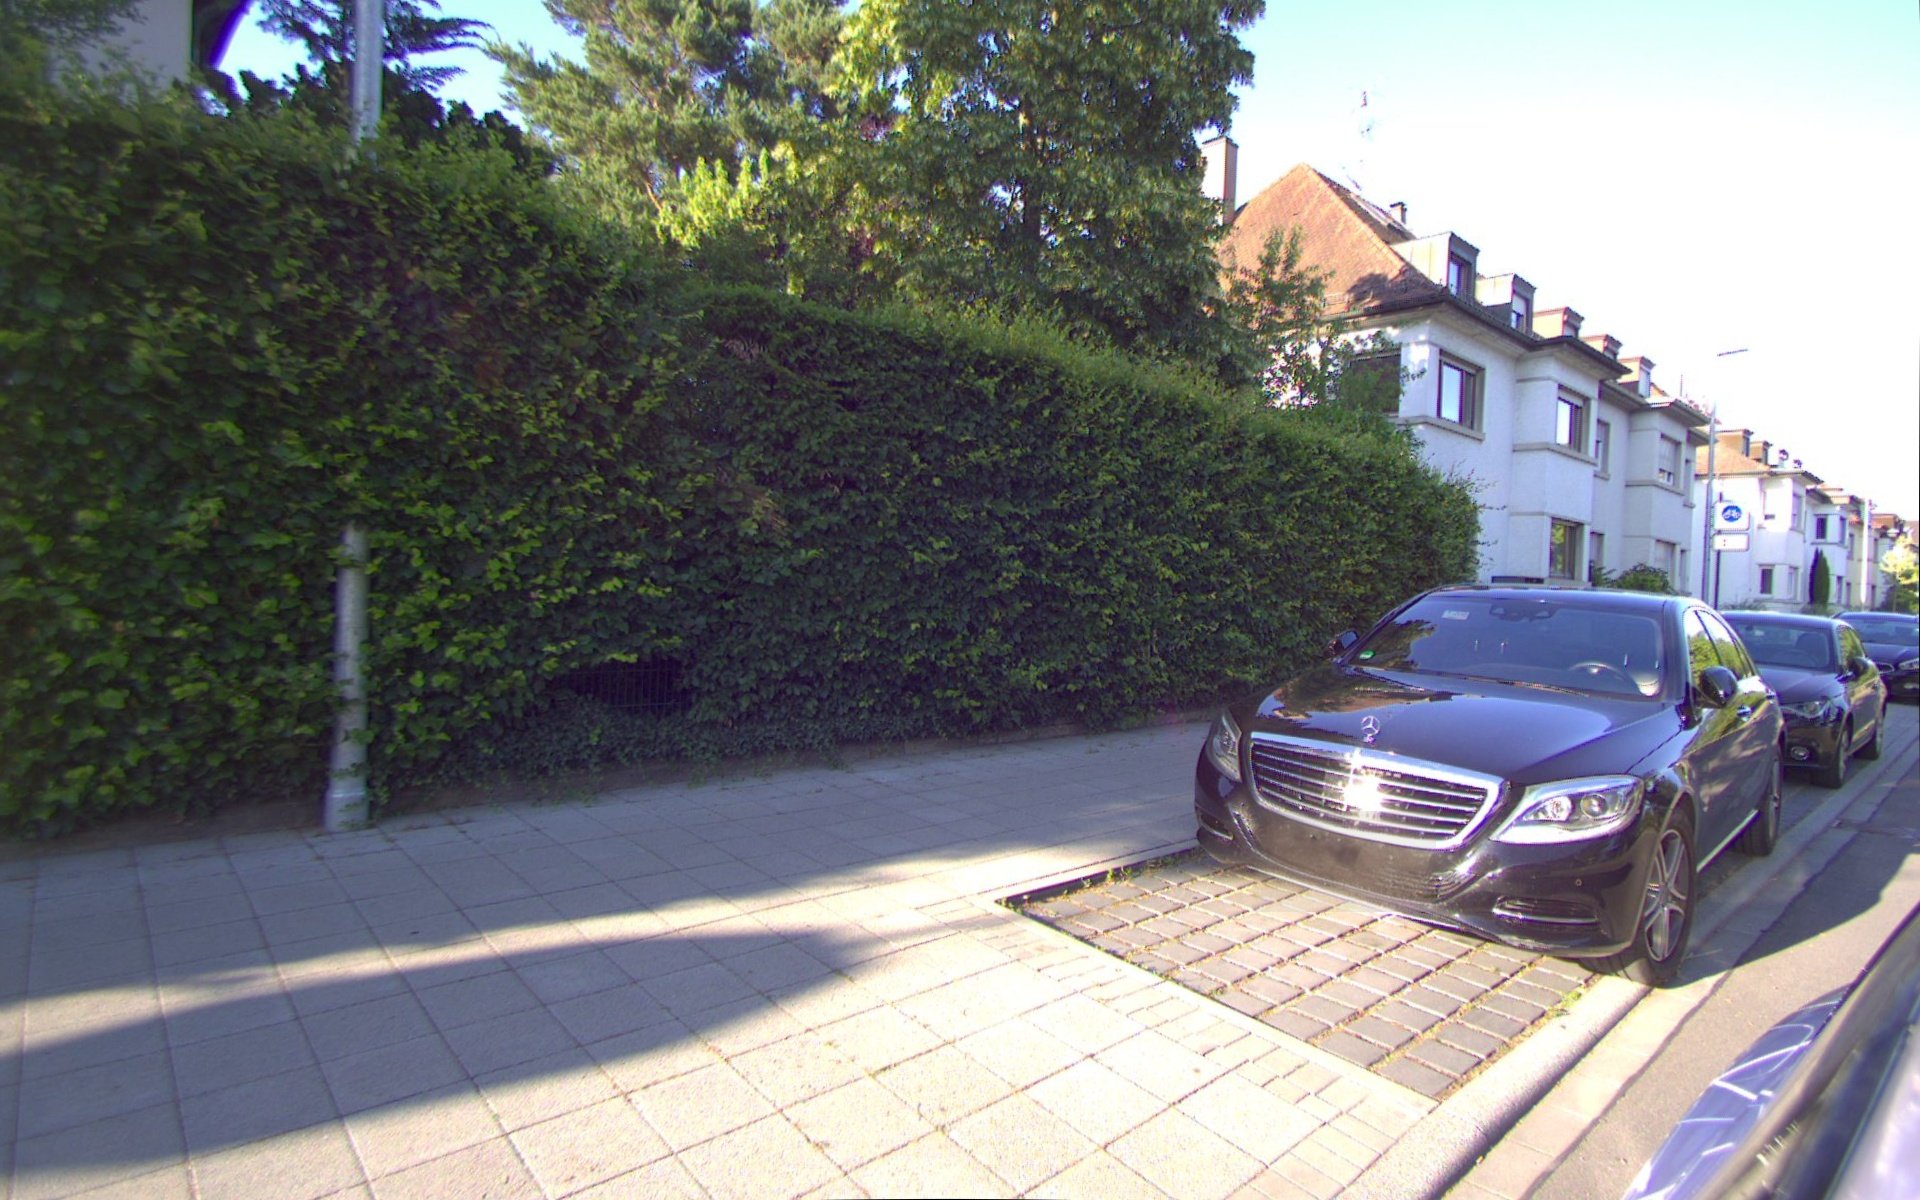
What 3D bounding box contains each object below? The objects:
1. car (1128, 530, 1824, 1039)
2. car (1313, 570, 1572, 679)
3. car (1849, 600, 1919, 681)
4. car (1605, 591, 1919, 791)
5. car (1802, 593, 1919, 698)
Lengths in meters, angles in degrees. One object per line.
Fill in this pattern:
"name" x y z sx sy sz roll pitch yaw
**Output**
"car" 3.136 0.543 5.494 4.792 1.561 1.861 0 3 -44
"car" 8.317 0.350 17.627 3.637 1.514 1.752 6 4 45
"car" 19.892 0.819 20.996 3.916 1.489 1.721 1 4 -43
"car" 7.780 0.711 9.688 3.868 1.445 1.644 1 3 -42
"car" 16.042 0.737 17.440 4.183 1.492 1.750 1 5 -43
